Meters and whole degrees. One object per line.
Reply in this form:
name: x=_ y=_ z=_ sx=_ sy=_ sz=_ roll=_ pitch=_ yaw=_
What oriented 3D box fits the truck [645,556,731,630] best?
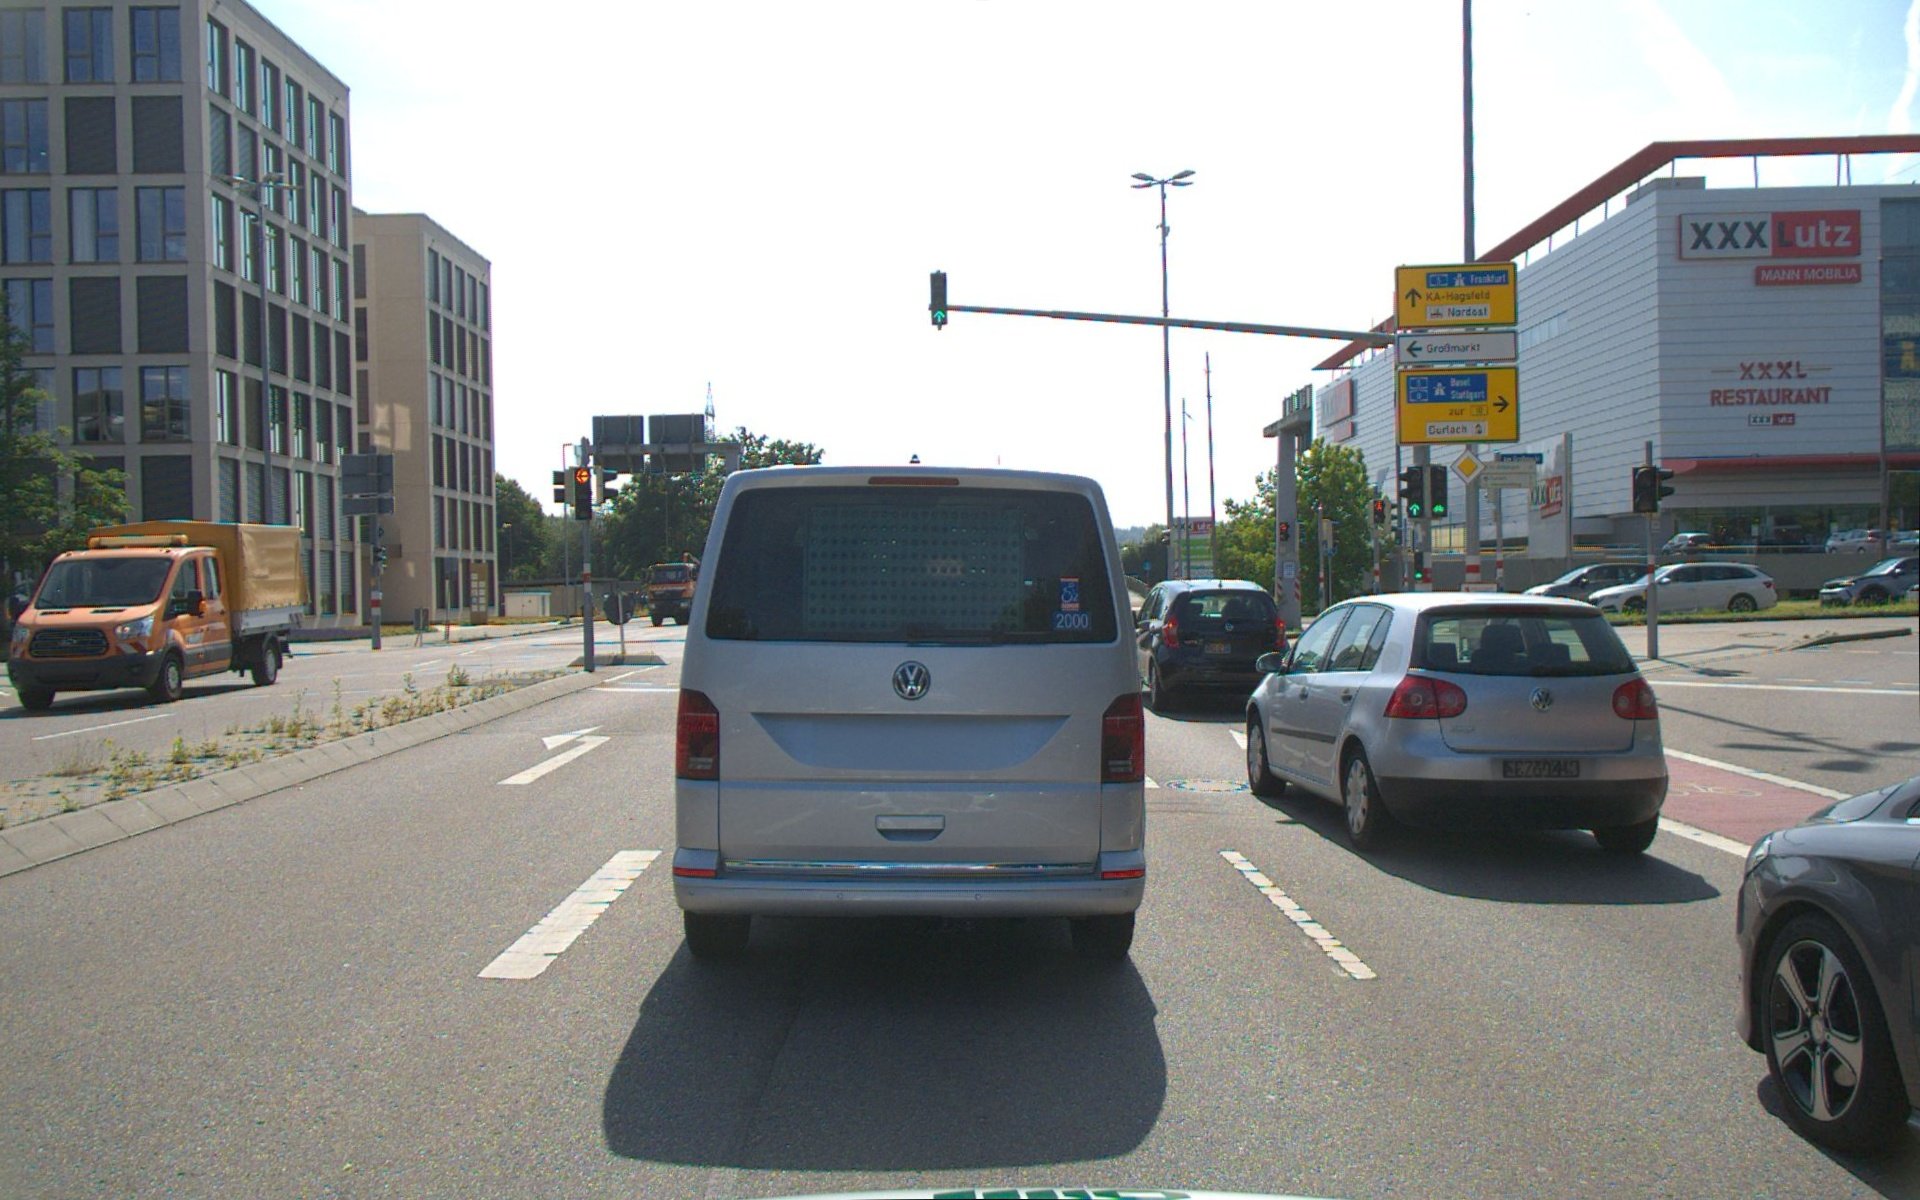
truck: x=-14.576 y=-0.406 z=89.264 sx=2.688 sy=3.744 sz=7.584 roll=-2 pitch=1 yaw=5

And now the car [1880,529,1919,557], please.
car: x=51.488 y=-3.078 z=88.905 sx=1.794 sy=1.444 sz=4.201 roll=-1 pitch=1 yaw=2

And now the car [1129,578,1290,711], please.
car: x=3.018 y=0.489 z=20.578 sx=1.499 sy=1.505 sz=3.596 roll=0 pitch=1 yaw=0

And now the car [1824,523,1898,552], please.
car: x=48.796 y=-3.368 z=89.618 sx=1.762 sy=1.444 sz=4.007 roll=-1 pitch=1 yaw=-1

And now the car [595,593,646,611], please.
car: x=-29.113 y=0.155 z=141.750 sx=4.039 sy=1.445 sz=1.718 roll=-1 pitch=-1 yaw=-20

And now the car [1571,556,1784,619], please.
car: x=18.422 y=-0.302 z=42.614 sx=4.618 sy=1.450 sz=1.959 roll=-2 pitch=-1 yaw=2

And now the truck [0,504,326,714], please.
truck: x=-12.092 y=0.096 z=25.477 sx=2.329 sy=2.670 sz=6.667 roll=-4 pitch=1 yaw=-4

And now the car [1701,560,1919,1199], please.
car: x=3.230 y=0.698 z=3.094 sx=1.738 sy=1.566 sz=4.136 roll=0 pitch=1 yaw=-2

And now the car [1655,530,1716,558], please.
car: x=41.570 y=-3.197 z=94.828 sx=1.734 sy=1.444 sz=4.201 roll=-1 pitch=1 yaw=2

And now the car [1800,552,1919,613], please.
car: x=25.372 y=-0.485 z=45.067 sx=3.945 sy=1.535 sz=1.909 roll=-2 pitch=-1 yaw=2

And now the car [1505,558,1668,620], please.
car: x=17.241 y=-0.305 z=45.651 sx=3.803 sy=1.585 sz=1.809 roll=-1 pitch=0 yaw=3

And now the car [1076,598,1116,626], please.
car: x=7.629 y=0.652 z=93.027 sx=1.502 sy=1.463 sz=3.241 roll=-1 pitch=1 yaw=-8

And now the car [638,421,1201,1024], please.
car: x=-0.171 y=0.393 z=7.690 sx=1.878 sy=2.010 sz=4.296 roll=0 pitch=1 yaw=-1

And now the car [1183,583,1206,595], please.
car: x=30.848 y=-1.432 z=217.904 sx=1.849 sy=1.545 sz=3.991 roll=1 pitch=0 yaw=-9

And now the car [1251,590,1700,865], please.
car: x=3.049 y=0.659 z=10.570 sx=1.633 sy=1.439 sz=3.681 roll=0 pitch=1 yaw=-2

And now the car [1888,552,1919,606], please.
car: x=26.035 y=-0.566 z=41.983 sx=3.960 sy=1.365 sz=1.724 roll=-1 pitch=0 yaw=1

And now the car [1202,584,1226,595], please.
car: x=33.510 y=-1.358 z=217.983 sx=1.957 sy=1.445 sz=3.991 roll=1 pitch=0 yaw=-9
